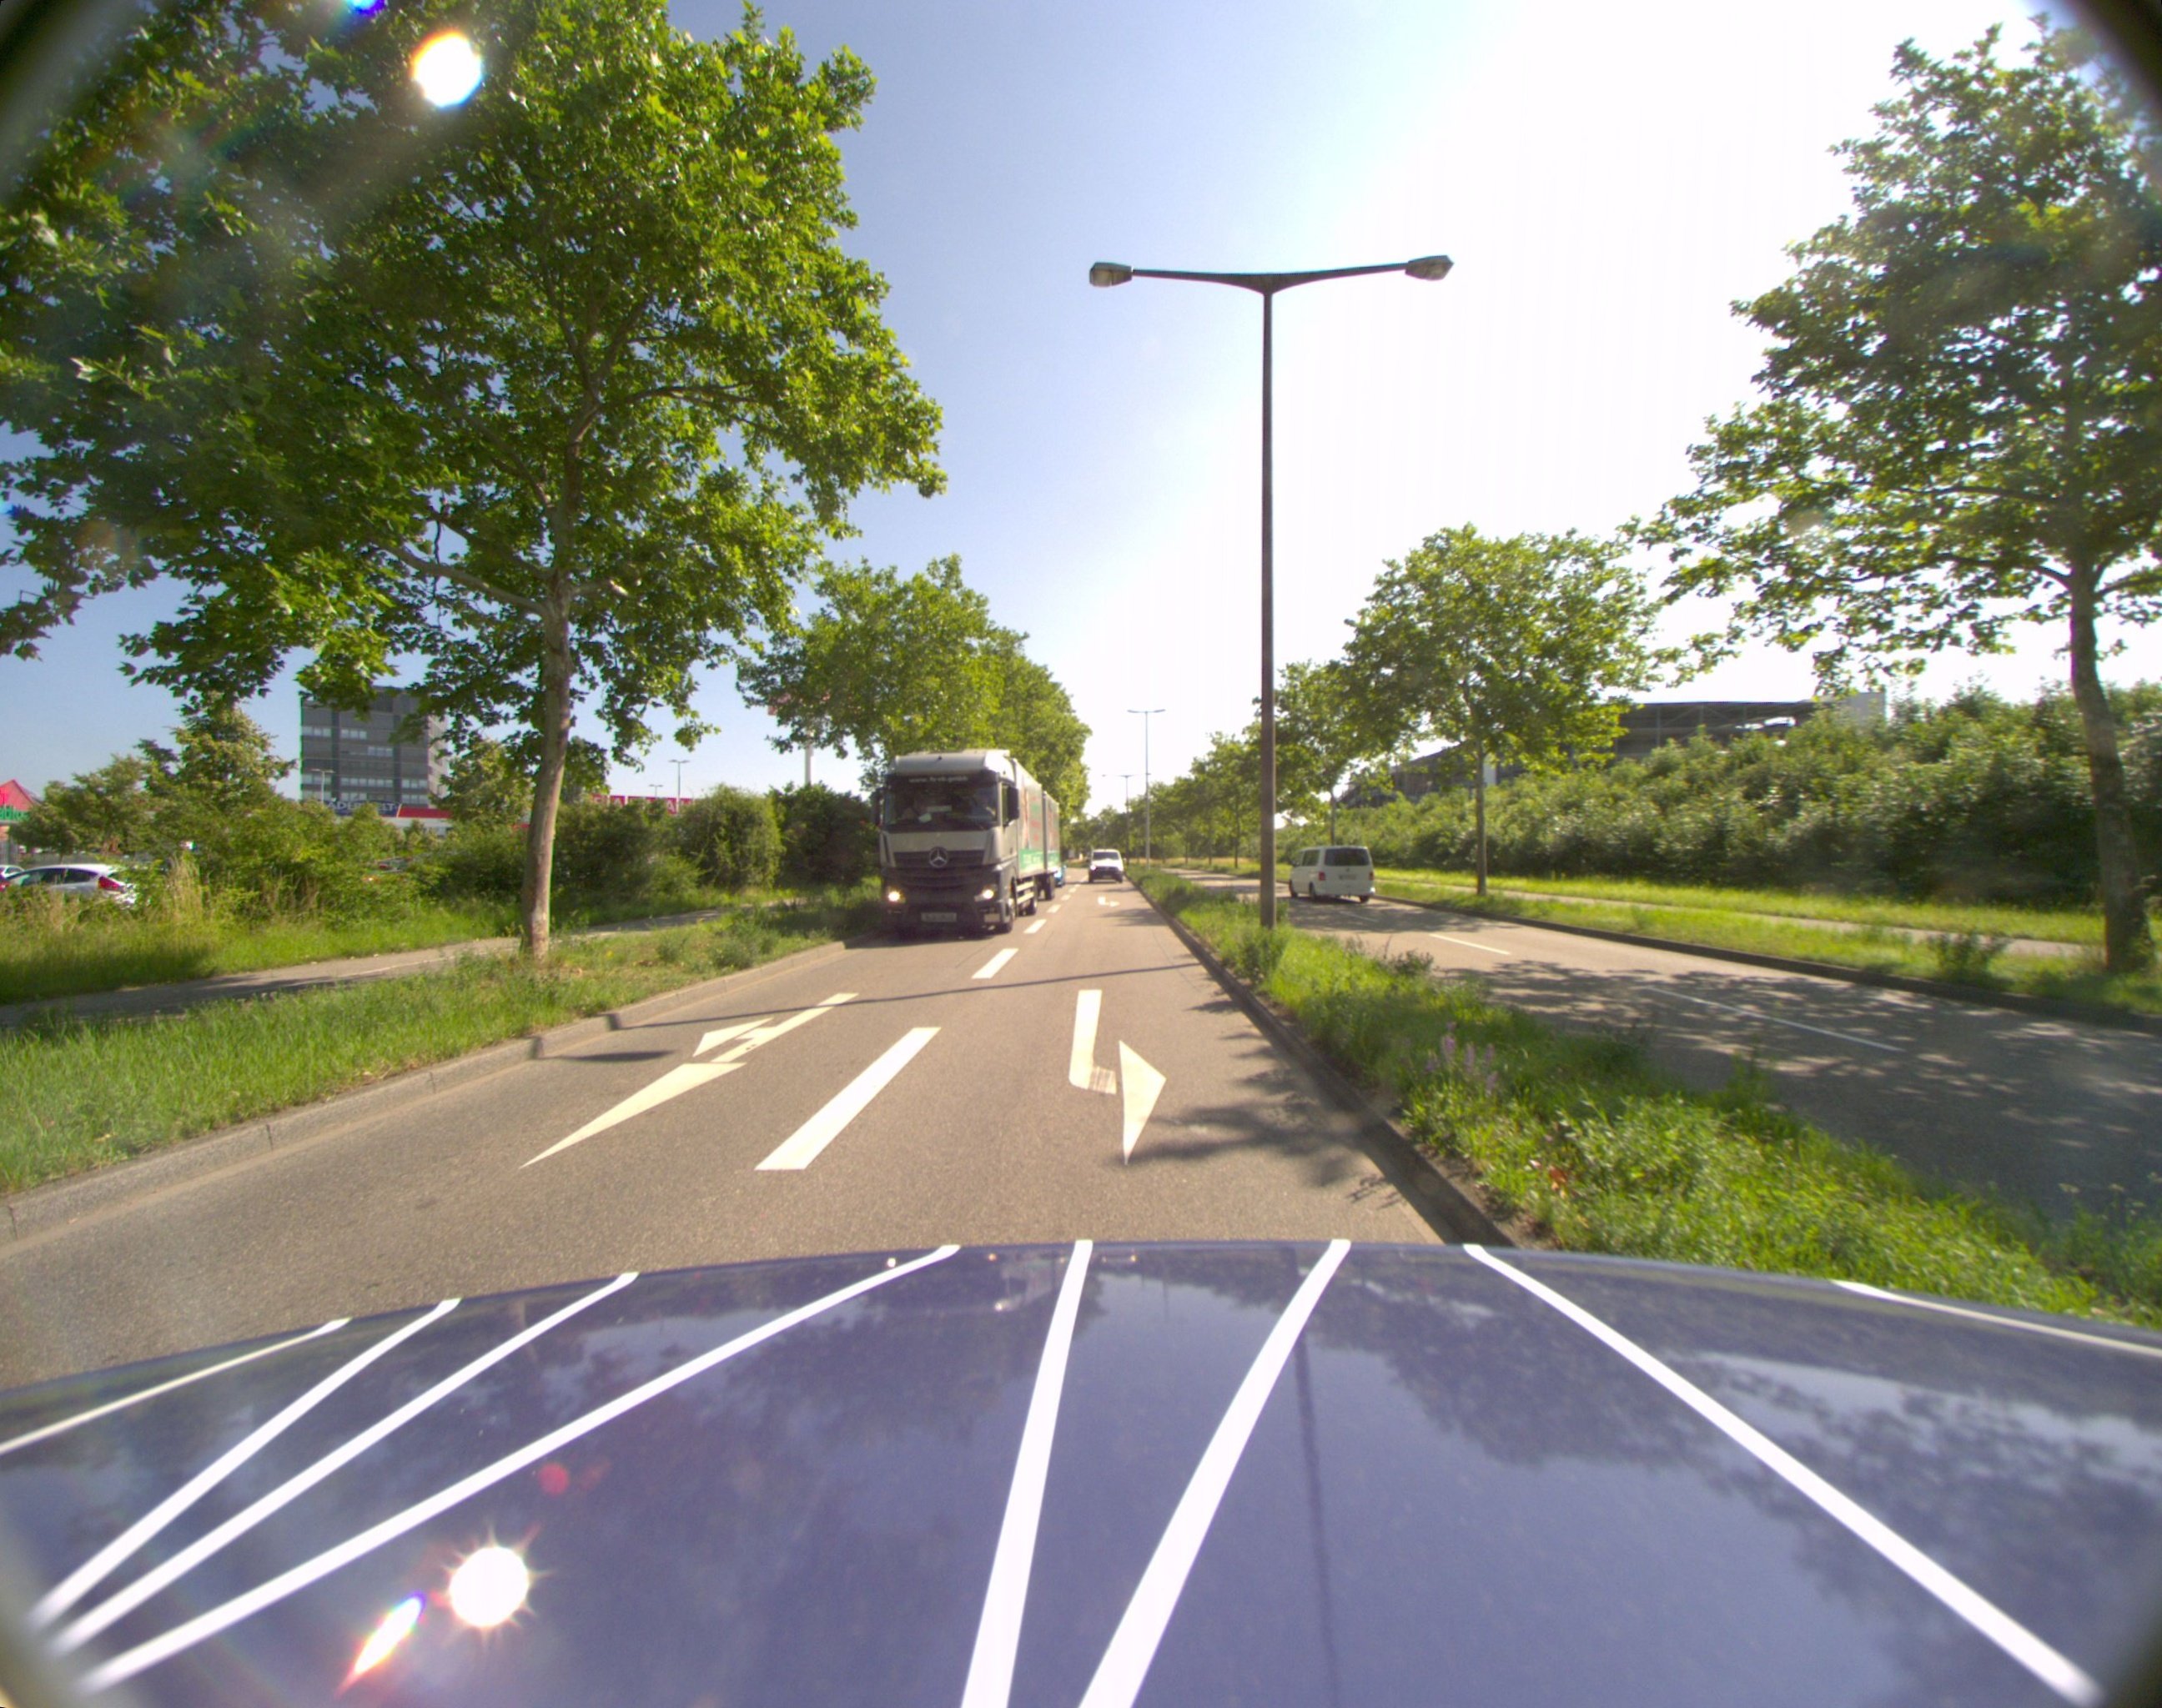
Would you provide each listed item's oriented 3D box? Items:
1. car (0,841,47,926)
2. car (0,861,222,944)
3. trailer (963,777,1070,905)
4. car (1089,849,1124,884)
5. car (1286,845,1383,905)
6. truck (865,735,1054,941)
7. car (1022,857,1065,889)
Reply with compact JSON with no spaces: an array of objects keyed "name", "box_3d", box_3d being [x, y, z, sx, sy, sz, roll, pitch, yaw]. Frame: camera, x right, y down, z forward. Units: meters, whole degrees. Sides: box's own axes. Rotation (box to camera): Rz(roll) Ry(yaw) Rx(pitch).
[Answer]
[{"name":"car","box_3d":[-22.170,0.628,13.758,4.083,1.582,1.880,-2,1,-2]},{"name":"car","box_3d":[-22.148,1.050,16.752,4.083,1.582,1.880,-2,1,-2]},{"name":"trailer","box_3d":[-2.021,-0.445,27.011,2.743,3.854,7.736,-1,1,3]},{"name":"car","box_3d":[1.431,0.643,43.849,1.872,1.889,4.881,0,0,1]},{"name":"car","box_3d":[8.708,0.652,26.581,1.998,1.887,4.575,1,0,3]},{"name":"truck","box_3d":[-2.469,-0.352,18.784,2.735,3.867,8.723,-1,1,3]},{"name":"car","box_3d":[-1.798,0.907,37.955,1.872,1.412,4.130,0,0,1]}]
